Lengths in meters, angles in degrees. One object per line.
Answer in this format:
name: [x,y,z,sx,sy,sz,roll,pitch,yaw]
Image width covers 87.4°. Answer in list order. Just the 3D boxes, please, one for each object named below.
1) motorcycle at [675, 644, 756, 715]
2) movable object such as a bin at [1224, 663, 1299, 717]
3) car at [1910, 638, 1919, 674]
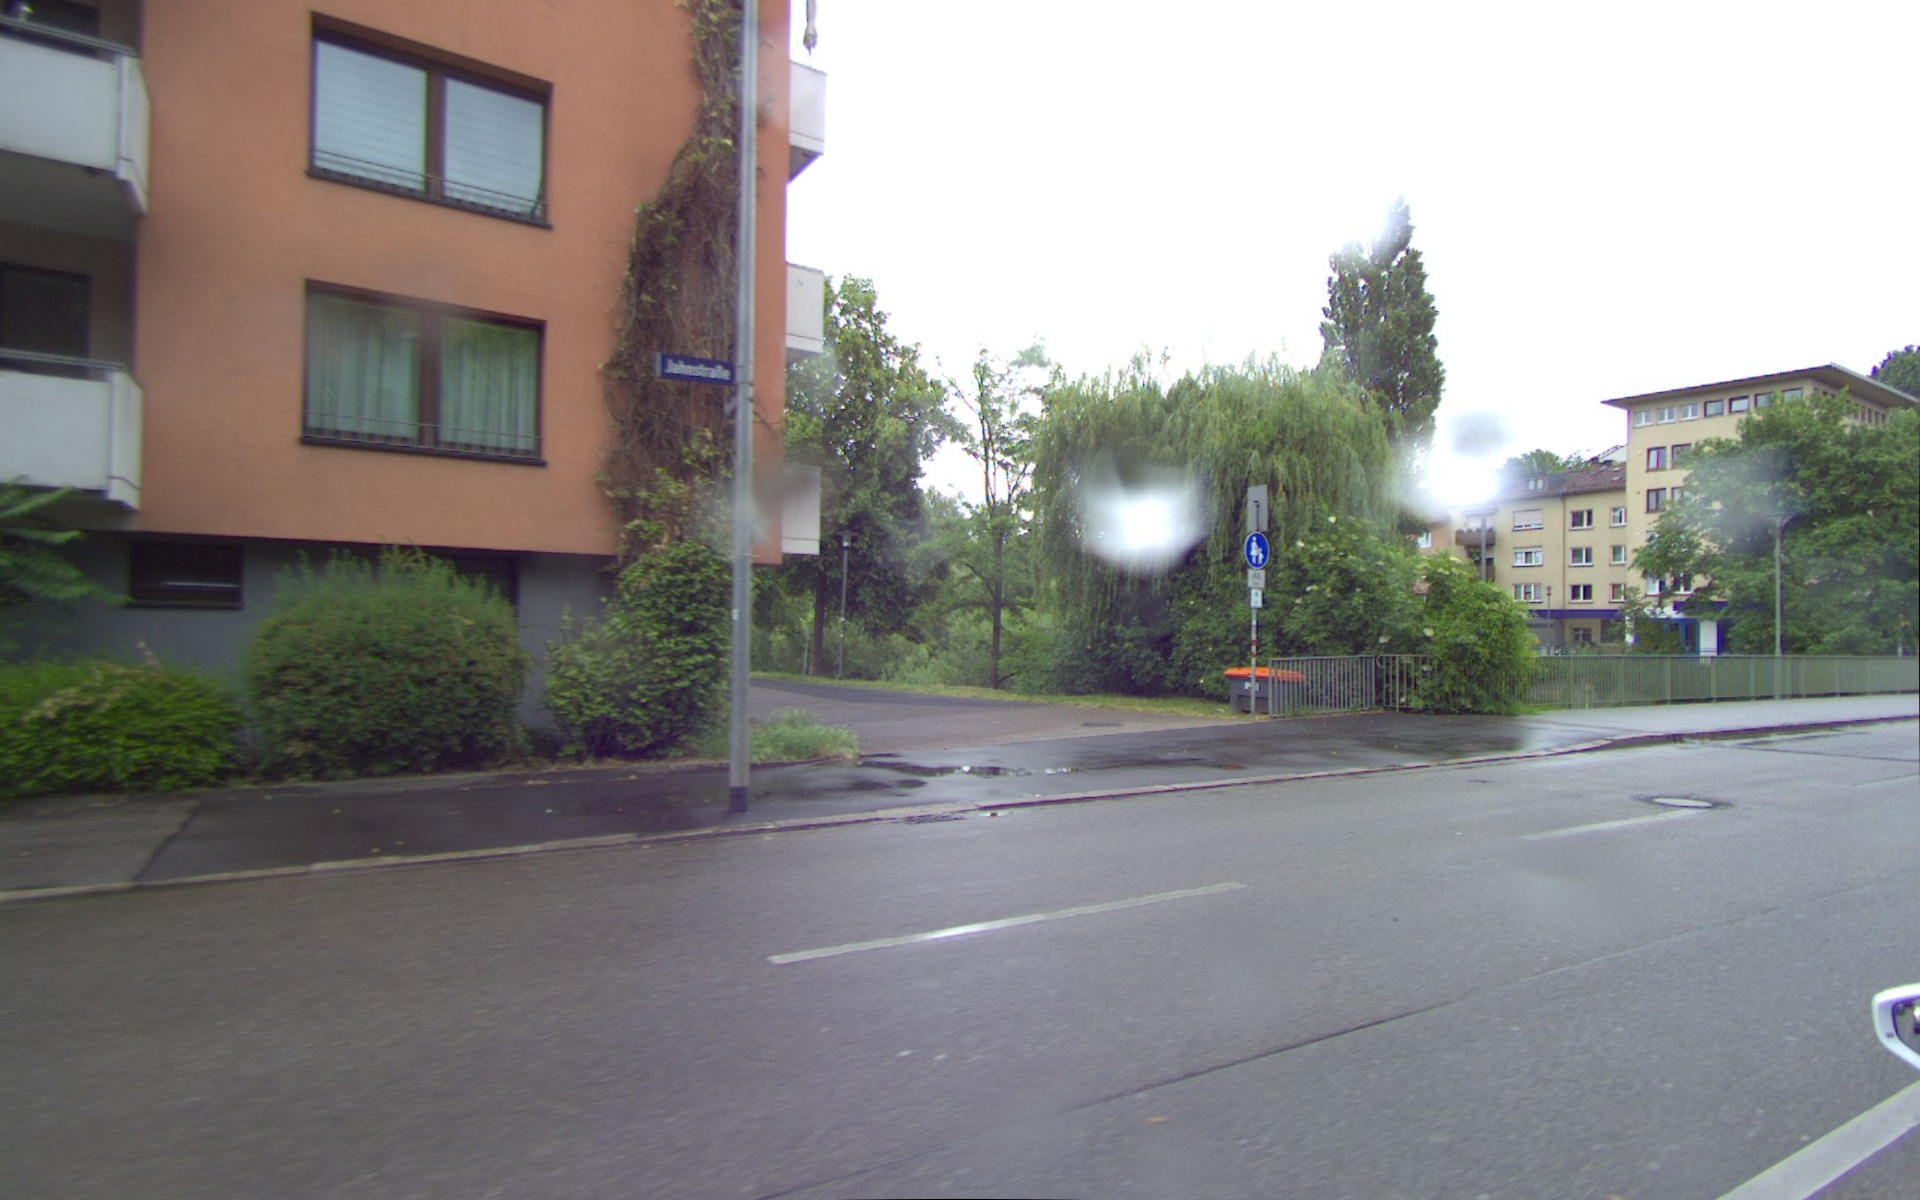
motorcycle: [-4.788,1.501,19.518,0.773,1.280,2.379,0,-2,-34]
movable object such as a bin: [5.257,1.552,17.530,0.823,0.888,0.961,2,-2,-30]
car: [53.863,3.058,53.394,1.982,1.879,4.706,0,0,-38]
